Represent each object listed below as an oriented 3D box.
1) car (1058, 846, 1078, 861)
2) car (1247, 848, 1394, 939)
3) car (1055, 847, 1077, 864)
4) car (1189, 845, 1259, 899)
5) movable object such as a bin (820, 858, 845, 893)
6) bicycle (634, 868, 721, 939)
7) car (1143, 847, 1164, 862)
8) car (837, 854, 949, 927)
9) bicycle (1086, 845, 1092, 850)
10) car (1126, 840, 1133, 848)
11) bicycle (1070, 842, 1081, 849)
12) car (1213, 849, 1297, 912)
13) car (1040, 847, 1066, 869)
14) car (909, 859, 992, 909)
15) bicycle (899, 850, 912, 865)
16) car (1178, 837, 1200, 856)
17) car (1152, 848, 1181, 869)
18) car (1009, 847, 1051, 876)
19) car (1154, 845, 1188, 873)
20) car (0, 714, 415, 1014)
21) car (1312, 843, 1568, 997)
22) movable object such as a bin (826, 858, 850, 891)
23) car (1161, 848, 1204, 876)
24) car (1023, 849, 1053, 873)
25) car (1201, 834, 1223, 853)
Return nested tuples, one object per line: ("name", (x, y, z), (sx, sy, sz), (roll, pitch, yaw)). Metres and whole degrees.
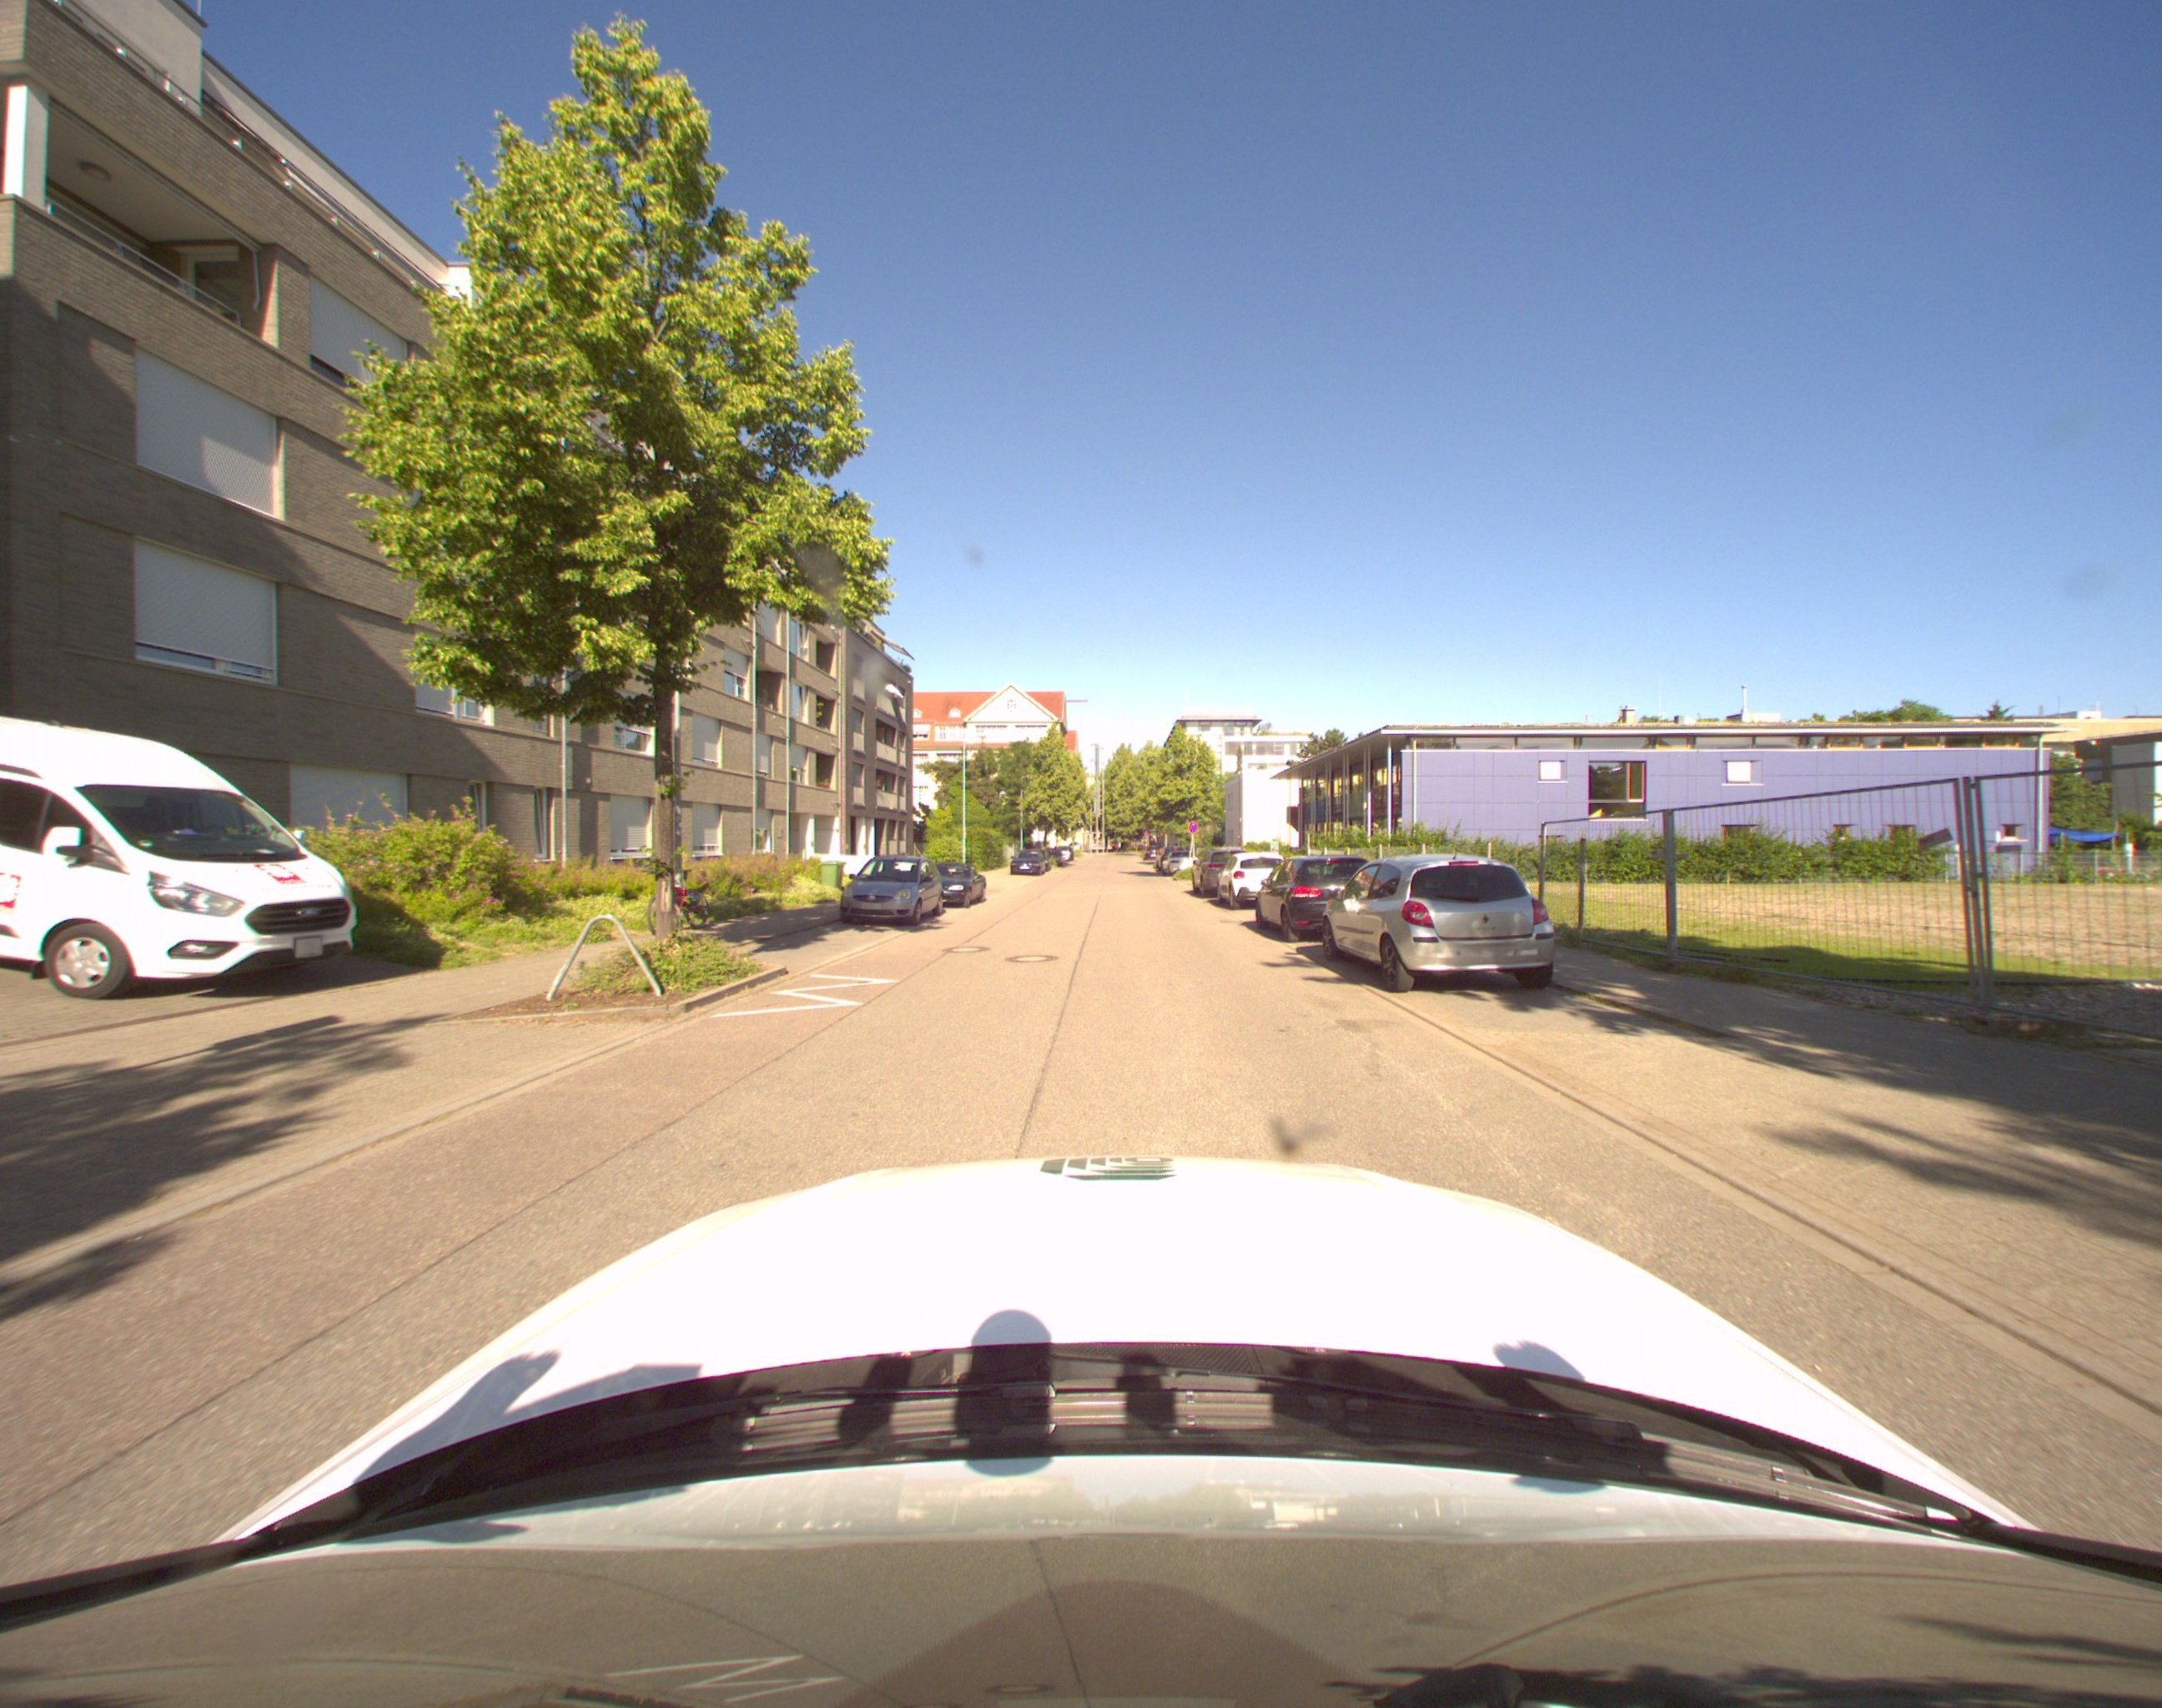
("car", (-1.290, -0.040, 82.053), (1.694, 1.470, 3.463), (0, 0, 2))
("car", (4.311, 0.652, 15.292), (1.681, 1.494, 4.080), (0, 0, 2))
("car", (-1.381, 0.109, 76.907), (1.770, 1.530, 4.003), (0, 0, 2))
("car", (4.813, 0.552, 28.023), (1.719, 1.652, 4.328), (-2, 0, 2))
("movable object such as a bin", (-8.051, 0.689, 26.390), (0.605, 1.090, 0.637), (0, 1, 1))
("bicycle", (-7.188, 0.844, 14.609), (0.282, 1.124, 1.989), (0, 0, 9))
("car", (7.313, 0.003, 82.444), (1.985, 1.486, 4.003), (0, 0, 2))
("car", (-4.199, 0.752, 18.764), (1.605, 1.465, 3.875), (0, 0, 1))
("bicycle", (1.253, -0.923, 121.254), (0.375, 0.683, 1.069), (-1, 2, -34))
("car", (13.866, -2.898, 233.337), (1.985, 2.013, 4.004), (0, 1, 3))
("bicycle", (-0.678, -1.008, 101.322), (1.463, 0.842, 0.335), (0, 1, -2))
("car", (4.765, 0.656, 22.803), (1.673, 1.542, 3.851), (0, 1, 2))
("car", (-2.142, 0.288, 63.437), (1.688, 1.605, 3.945), (0, 0, 2))
("car", (-3.746, 0.823, 23.965), (1.592, 1.217, 3.879), (2, 1, 3))
("bicycle", (-10.138, 0.197, 47.080), (0.252, 0.837, 1.777), (0, 1, 6))
("car", (11.827, -0.808, 89.354), (2.016, 2.013, 4.003), (0, 0, 2))
("car", (6.229, 0.330, 59.803), (1.827, 1.516, 3.882), (0, 0, 2))
("car", (-2.939, 0.409, 47.509), (1.753, 1.527, 4.007), (2, 0, 6))
("car", (5.890, 0.290, 53.561), (1.814, 1.718, 4.121), (-3, 0, 2))
("car", (-10.352, -0.129, 8.135), (5.431, 2.382, 1.921), (8, 0, -2))
("car", (4.217, 0.649, 10.300), (1.656, 1.512, 4.004), (0, 1, 3))
("movable object such as a bin", (-8.091, 0.672, 27.142), (0.605, 1.083, 0.637), (0, 1, 1))
("car", (5.719, 0.421, 46.470), (1.824, 1.422, 4.232), (-3, 0, -1))
("car", (-2.810, 0.453, 54.133), (1.623, 1.501, 3.580), (0, 0, 2))
("car", (14.354, -1.145, 89.350), (1.985, 2.013, 4.003), (0, 0, 2))
